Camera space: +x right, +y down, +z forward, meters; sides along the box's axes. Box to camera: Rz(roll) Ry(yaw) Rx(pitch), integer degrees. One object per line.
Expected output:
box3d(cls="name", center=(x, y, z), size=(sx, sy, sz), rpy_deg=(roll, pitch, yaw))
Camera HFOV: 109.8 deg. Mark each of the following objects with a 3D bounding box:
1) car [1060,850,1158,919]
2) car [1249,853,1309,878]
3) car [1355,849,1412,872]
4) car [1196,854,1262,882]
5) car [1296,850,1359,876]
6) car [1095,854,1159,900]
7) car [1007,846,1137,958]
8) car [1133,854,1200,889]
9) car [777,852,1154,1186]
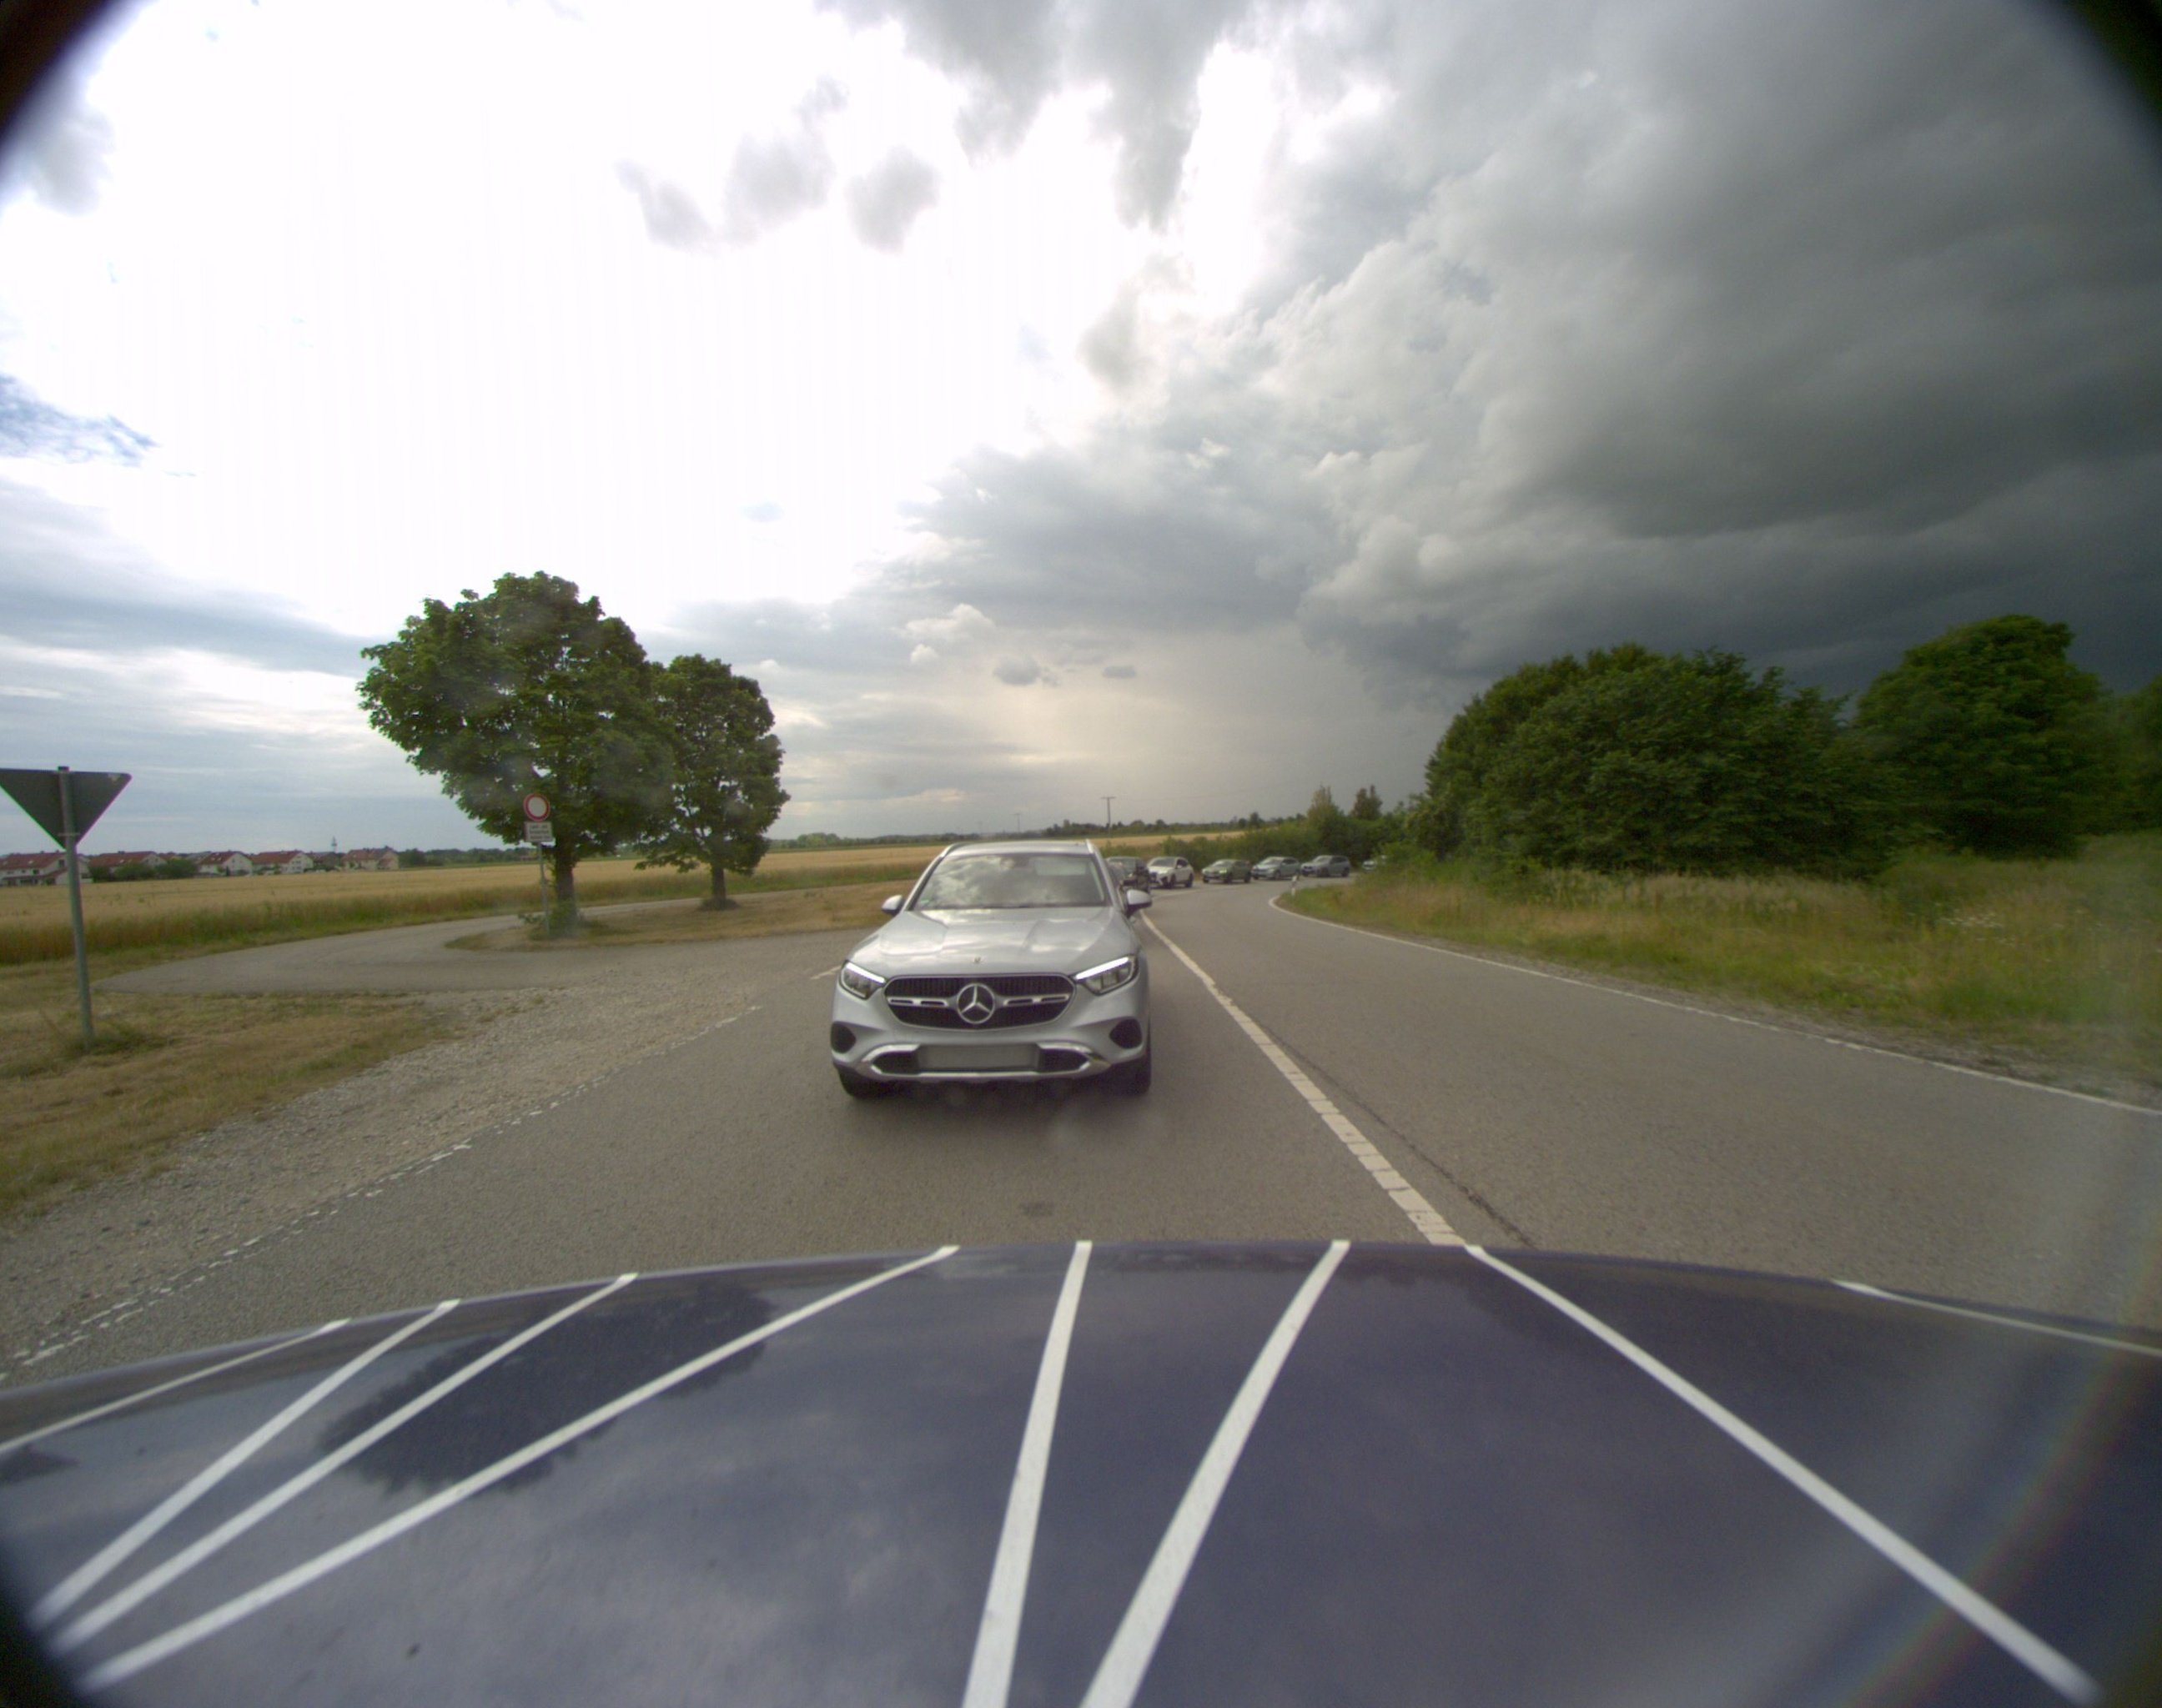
box3d(cls="car", center=(0.955, 0.801, 21.878), size=(1.997, 1.709, 5.214), rpy_deg=(1, -1, 11))
box3d(cls="car", center=(14.286, 0.786, 54.668), size=(1.994, 1.710, 5.220), rpy_deg=(2, 1, 42))
box3d(cls="car", center=(25.790, 0.493, 64.676), size=(5.217, 1.710, 1.994), rpy_deg=(-3, 3, -36))
box3d(cls="car", center=(9.589, 0.855, 48.998), size=(1.994, 1.710, 5.220), rpy_deg=(2, 1, 38))
box3d(cls="car", center=(19.357, 0.681, 59.529), size=(5.217, 1.710, 1.994), rpy_deg=(-3, 3, -36))
box3d(cls="car", center=(2.047, 0.904, 32.271), size=(1.997, 1.710, 5.212), rpy_deg=(1, 1, 11))
box3d(cls="car", center=(0.021, 0.787, 14.549), size=(1.998, 1.709, 5.210), rpy_deg=(-1, -1, 4))
box3d(cls="car", center=(4.751, 0.904, 41.481), size=(1.995, 1.710, 5.218), rpy_deg=(1, 1, 26))
box3d(cls="car", center=(-0.546, 0.828, 6.037), size=(1.836, 1.577, 4.449), rpy_deg=(-2, 1, 1))
